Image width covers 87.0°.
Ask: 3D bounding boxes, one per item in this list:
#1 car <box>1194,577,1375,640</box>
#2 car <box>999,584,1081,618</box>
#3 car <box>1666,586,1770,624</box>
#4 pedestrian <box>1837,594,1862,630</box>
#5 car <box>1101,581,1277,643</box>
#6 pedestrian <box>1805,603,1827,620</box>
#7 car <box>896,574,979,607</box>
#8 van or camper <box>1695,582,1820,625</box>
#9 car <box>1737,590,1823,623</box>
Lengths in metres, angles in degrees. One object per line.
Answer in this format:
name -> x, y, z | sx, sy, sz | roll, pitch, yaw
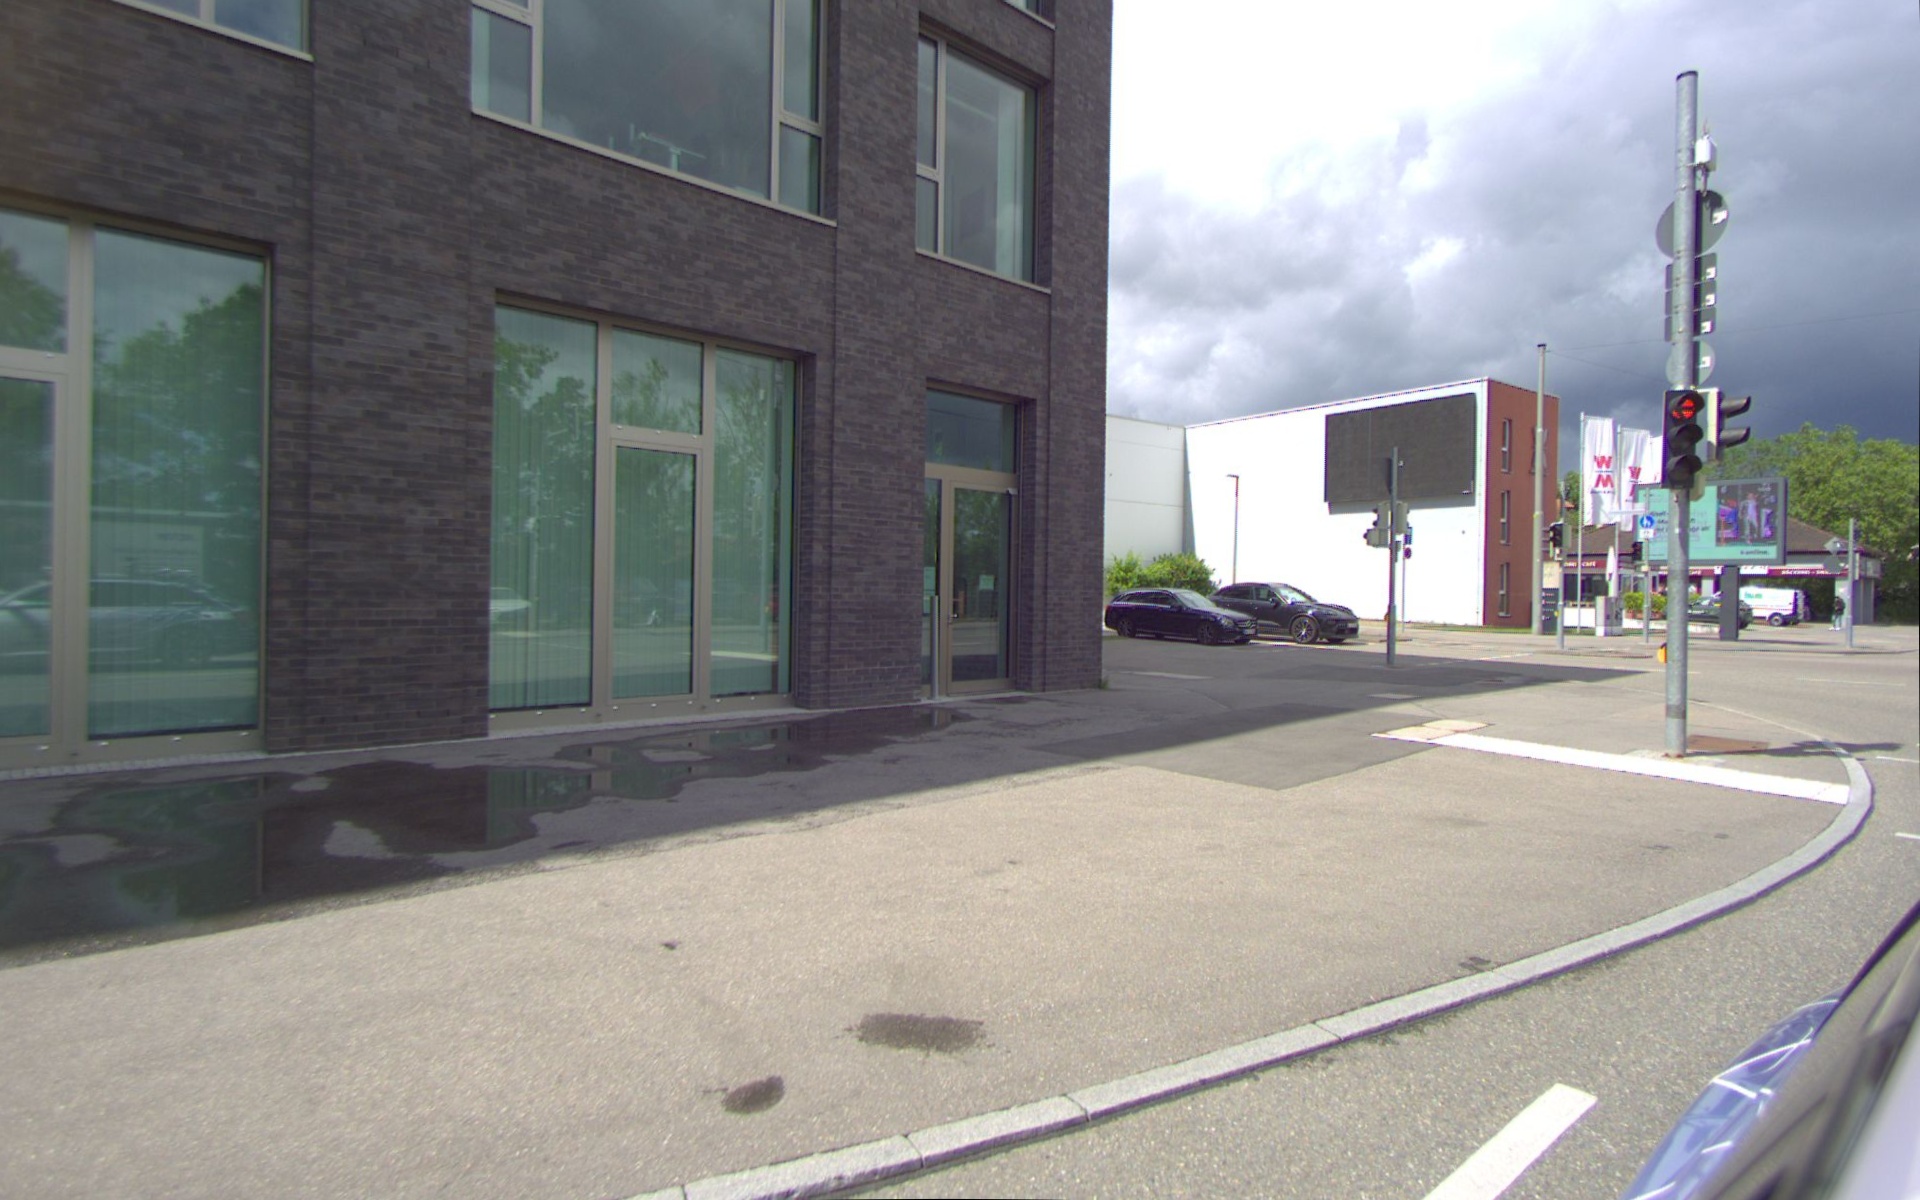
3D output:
car -> 9.269, 0.187, 29.216 | 1.965, 1.639, 4.648 | 1, 1, -41
car -> 3.772, 0.019, 48.034 | 3.669, 1.480, 1.718 | 2, 1, 44
car -> 37.306, 0.196, 49.855 | 1.730, 1.503, 3.679 | 0, 5, -38
pedestrian -> 44.464, 0.578, 50.612 | 0.726, 1.727, 0.714 | 0, 5, -40
car -> 6.275, 0.262, 28.148 | 1.965, 1.511, 4.534 | -1, 2, -40
pedestrian -> 65.710, 0.878, 77.666 | 0.945, 1.264, 0.888 | 1, 0, -12
car -> -1.225, -0.523, 52.978 | 4.300, 1.589, 1.841 | 2, 1, 44
van or camper -> 43.298, 0.137, 55.042 | 2.173, 1.981, 4.911 | -1, 4, -40
car -> 45.911, 0.330, 56.698 | 1.804, 1.503, 3.458 | -1, 6, -42
